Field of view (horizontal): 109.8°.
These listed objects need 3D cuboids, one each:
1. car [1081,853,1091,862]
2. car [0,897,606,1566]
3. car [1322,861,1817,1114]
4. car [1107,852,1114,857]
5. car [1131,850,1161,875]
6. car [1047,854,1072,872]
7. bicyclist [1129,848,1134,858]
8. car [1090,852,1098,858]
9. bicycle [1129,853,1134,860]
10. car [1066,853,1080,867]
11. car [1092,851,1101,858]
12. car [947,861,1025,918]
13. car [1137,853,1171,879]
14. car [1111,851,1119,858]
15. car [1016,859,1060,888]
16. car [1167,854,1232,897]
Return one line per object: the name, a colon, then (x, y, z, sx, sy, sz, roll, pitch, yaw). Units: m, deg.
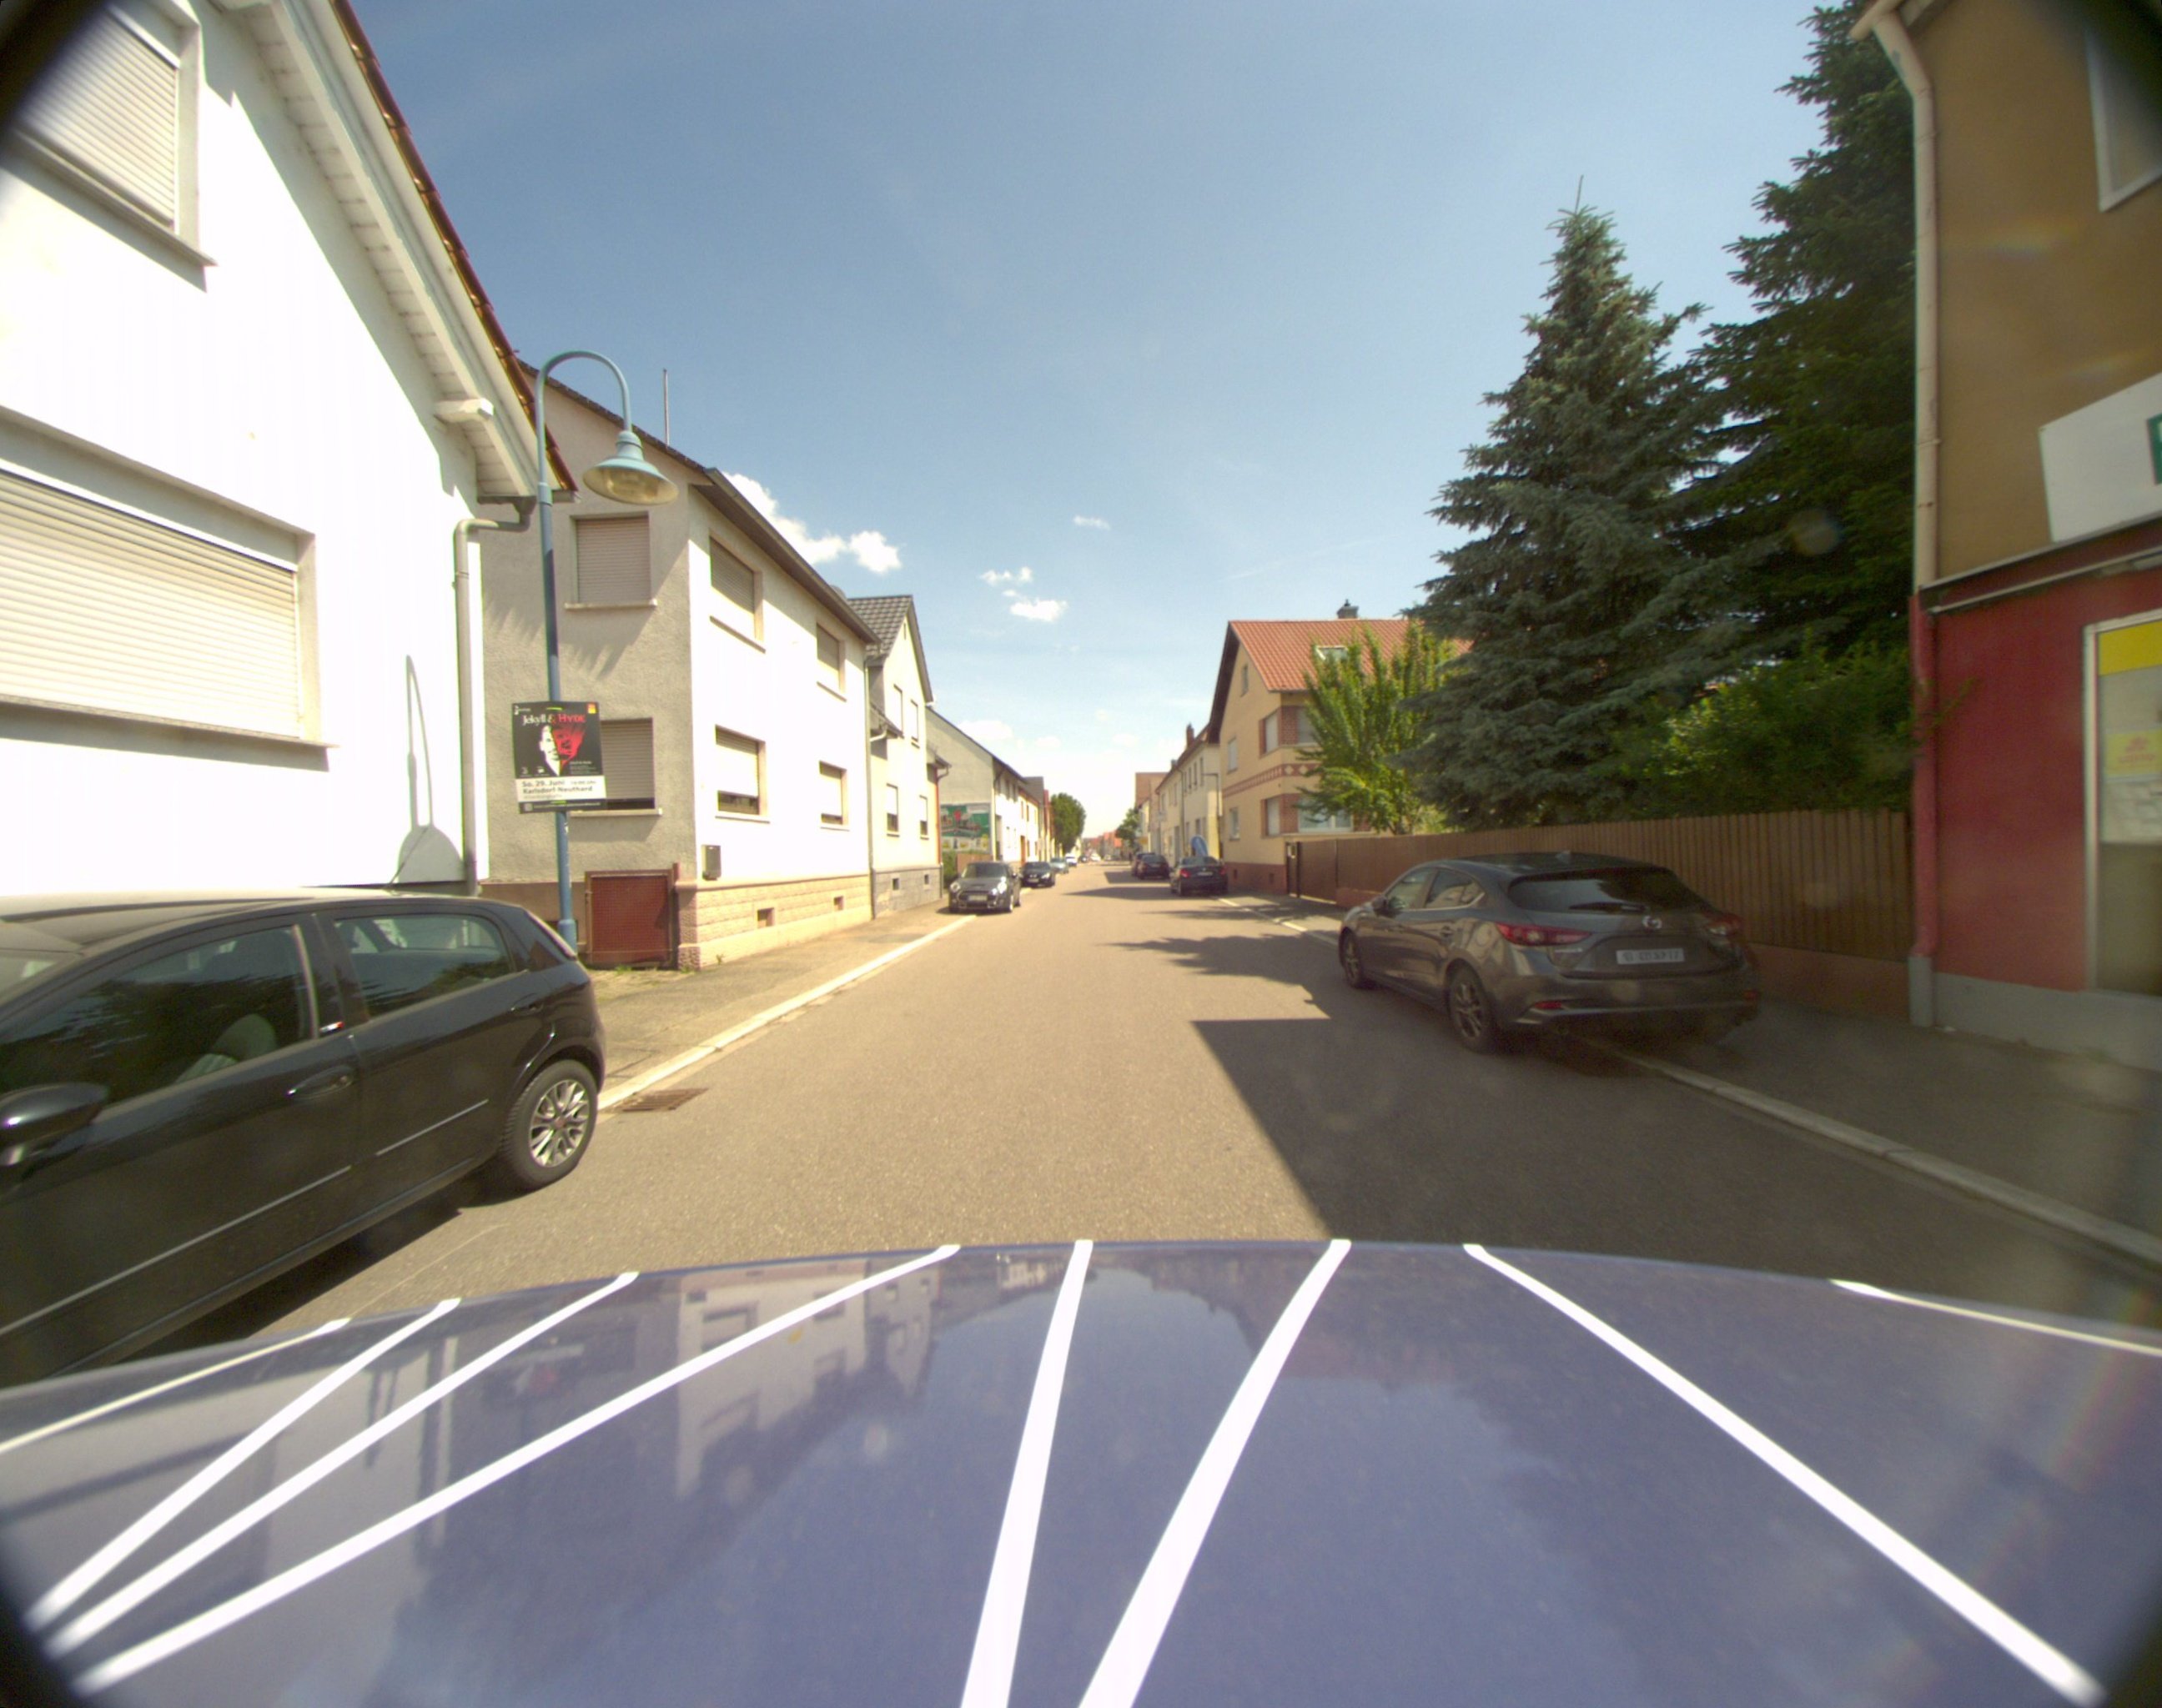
car: (1.012, 0.614, 142.051, 1.597, 1.533, 4.201, -3, 1, 4)
car: (-3.471, 1.006, 2.207, 1.621, 1.487, 3.971, 1, 0, 1)
car: (3.671, 0.842, 6.846, 1.772, 1.451, 4.437, -2, 0, 3)
car: (7.737, 0.117, 197.595, 1.598, 1.385, 4.168, -2, 0, 1)
car: (4.461, 0.534, 52.348, 1.721, 1.630, 4.148, 0, 0, 0)
car: (-1.899, 0.767, 66.989, 1.725, 1.473, 3.751, 2, 1, 5)
bicyclist: (8.033, -0.119, 120.531, 0.748, 1.627, 0.956, -2, 1, 5)
car: (3.317, 0.257, 192.718, 1.848, 1.385, 4.169, -2, -2, -1)
bicycle: (8.045, 0.405, 120.521, 0.744, 1.041, 1.940, -2, 0, 5)
car: (-1.106, 0.759, 103.539, 1.692, 1.832, 4.764, 1, 0, 2)
car: (3.694, 0.039, 178.290, 1.848, 1.385, 4.169, -2, -2, -1)
car: (-2.648, 0.952, 21.935, 1.692, 1.414, 3.657, -1, 0, 1)
car: (4.380, 0.676, 45.800, 1.702, 1.403, 4.390, -2, 0, 2)
car: (8.172, 0.118, 182.229, 1.726, 1.385, 4.171, -2, -2, 3)
car: (-2.126, 0.957, 38.728, 1.820, 1.268, 4.147, -2, 0, 2)
car: (4.284, 0.725, 27.930, 1.766, 1.366, 4.066, -3, 0, 1)
